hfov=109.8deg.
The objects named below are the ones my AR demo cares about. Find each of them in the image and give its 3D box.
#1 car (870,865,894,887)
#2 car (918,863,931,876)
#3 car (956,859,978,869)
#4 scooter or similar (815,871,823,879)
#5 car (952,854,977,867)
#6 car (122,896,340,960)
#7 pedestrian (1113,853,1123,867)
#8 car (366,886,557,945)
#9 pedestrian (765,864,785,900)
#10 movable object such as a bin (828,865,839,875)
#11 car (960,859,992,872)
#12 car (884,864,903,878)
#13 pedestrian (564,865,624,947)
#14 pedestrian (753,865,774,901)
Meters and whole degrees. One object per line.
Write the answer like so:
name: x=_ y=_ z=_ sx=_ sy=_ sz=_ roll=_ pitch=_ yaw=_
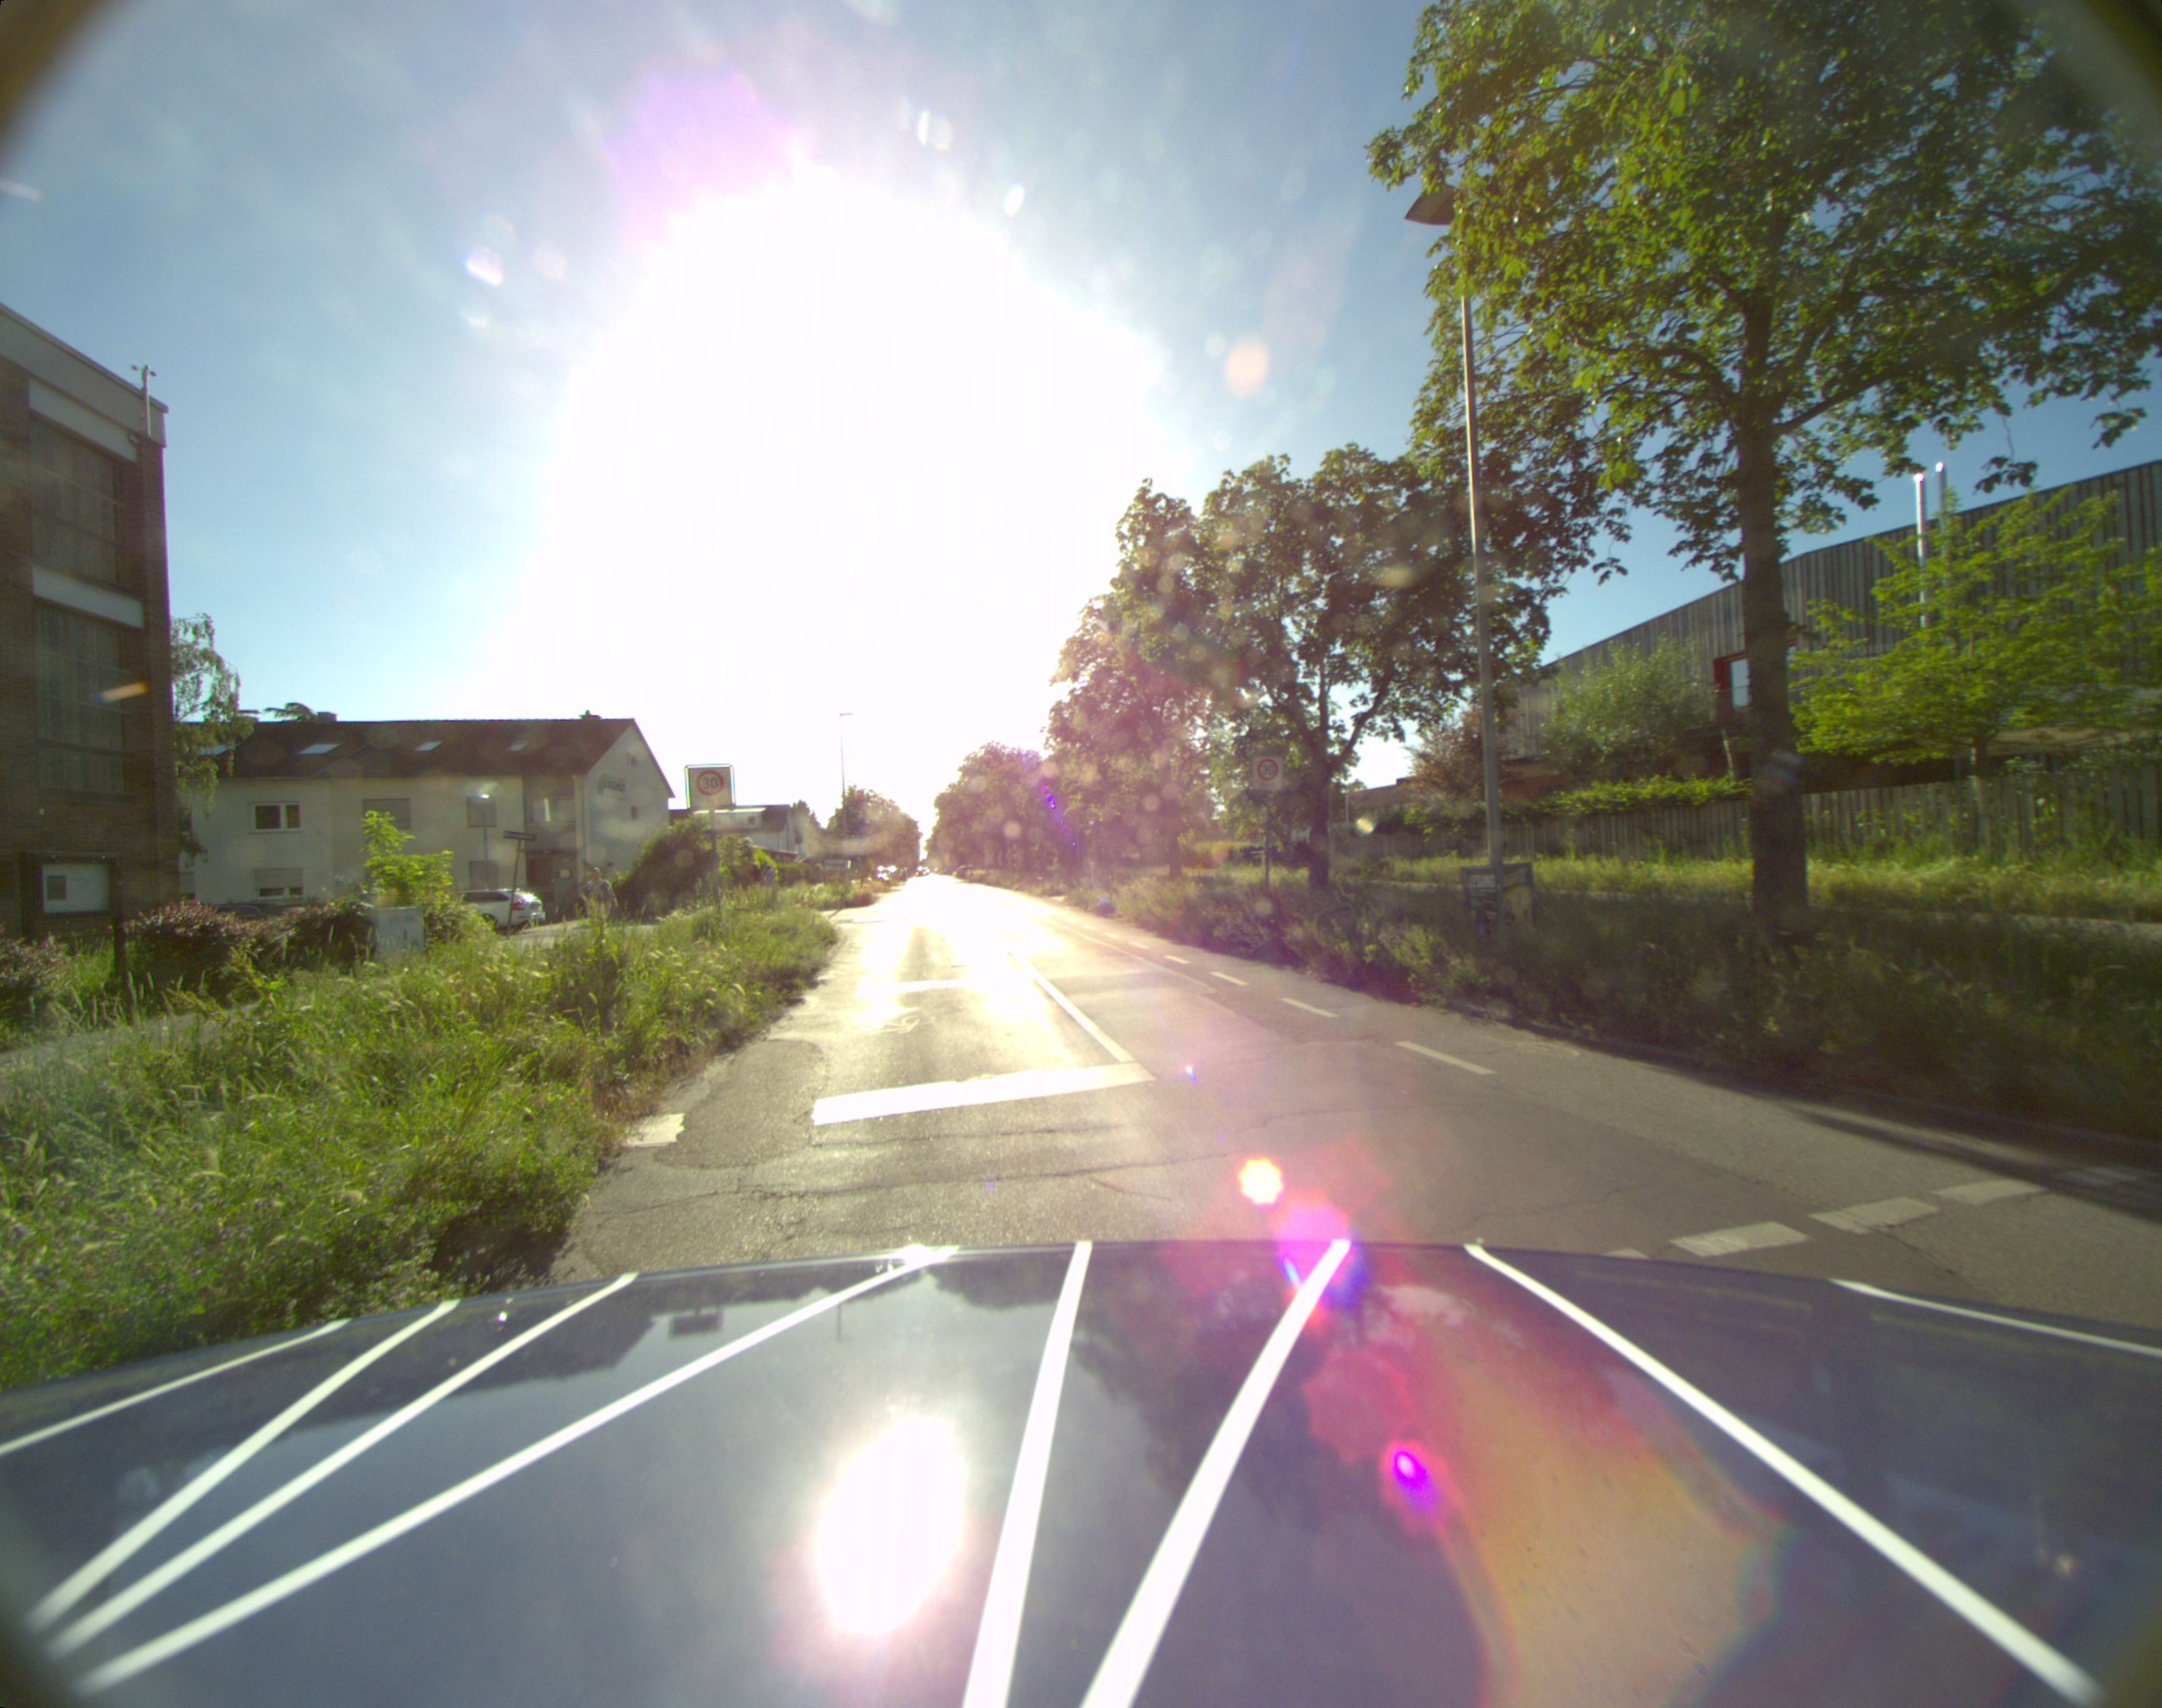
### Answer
car: x=-15.457 y=1.669 z=59.104 sx=1.498 sy=1.565 sz=3.597 roll=-3 pitch=0 yaw=-12
car: x=-25.530 y=2.526 z=123.880 sx=2.000 sy=2.002 sz=3.996 roll=-4 pitch=1 yaw=-11
car: x=-22.623 y=1.955 z=151.028 sx=4.001 sy=1.740 sz=1.888 roll=-4 pitch=1 yaw=-12
scooter or similar: x=-23.880 y=1.918 z=69.258 sx=0.450 sy=0.712 sz=1.227 roll=1 pitch=0 yaw=-12
car: x=-25.663 y=1.454 z=167.302 sx=5.126 sy=2.597 sz=2.123 roll=-4 pitch=1 yaw=-9
car: x=-24.932 y=2.127 z=22.457 sx=3.956 sy=1.493 sz=1.805 roll=-3 pitch=-1 yaw=-11
pedestrian: x=3.174 y=0.485 z=64.930 sx=0.640 sy=1.151 sz=0.521 roll=-6 pitch=2 yaw=-13
car: x=-19.259 y=1.874 z=23.822 sx=4.208 sy=1.493 sz=1.805 roll=-3 pitch=-1 yaw=-11
pedestrian: x=-15.271 y=1.397 z=37.914 sx=0.555 sy=1.722 sz=0.661 roll=-4 pitch=1 yaw=5
movable object such as a bin: x=-30.722 y=1.987 z=94.190 sx=1.173 sy=1.286 sz=0.927 roll=-1 pitch=1 yaw=-12
car: x=-14.536 y=1.586 z=105.298 sx=4.208 sy=1.552 sz=1.998 roll=-4 pitch=1 yaw=-11
car: x=-21.168 y=1.908 z=85.901 sx=1.734 sy=1.568 sz=3.854 roll=-2 pitch=0 yaw=-9
pedestrian: x=-11.365 y=1.191 z=17.762 sx=0.903 sy=1.811 sz=0.735 roll=-4 pitch=1 yaw=-17
pedestrian: x=-15.865 y=1.450 z=37.961 sx=0.607 sy=1.723 sz=0.639 roll=-3 pitch=1 yaw=5
